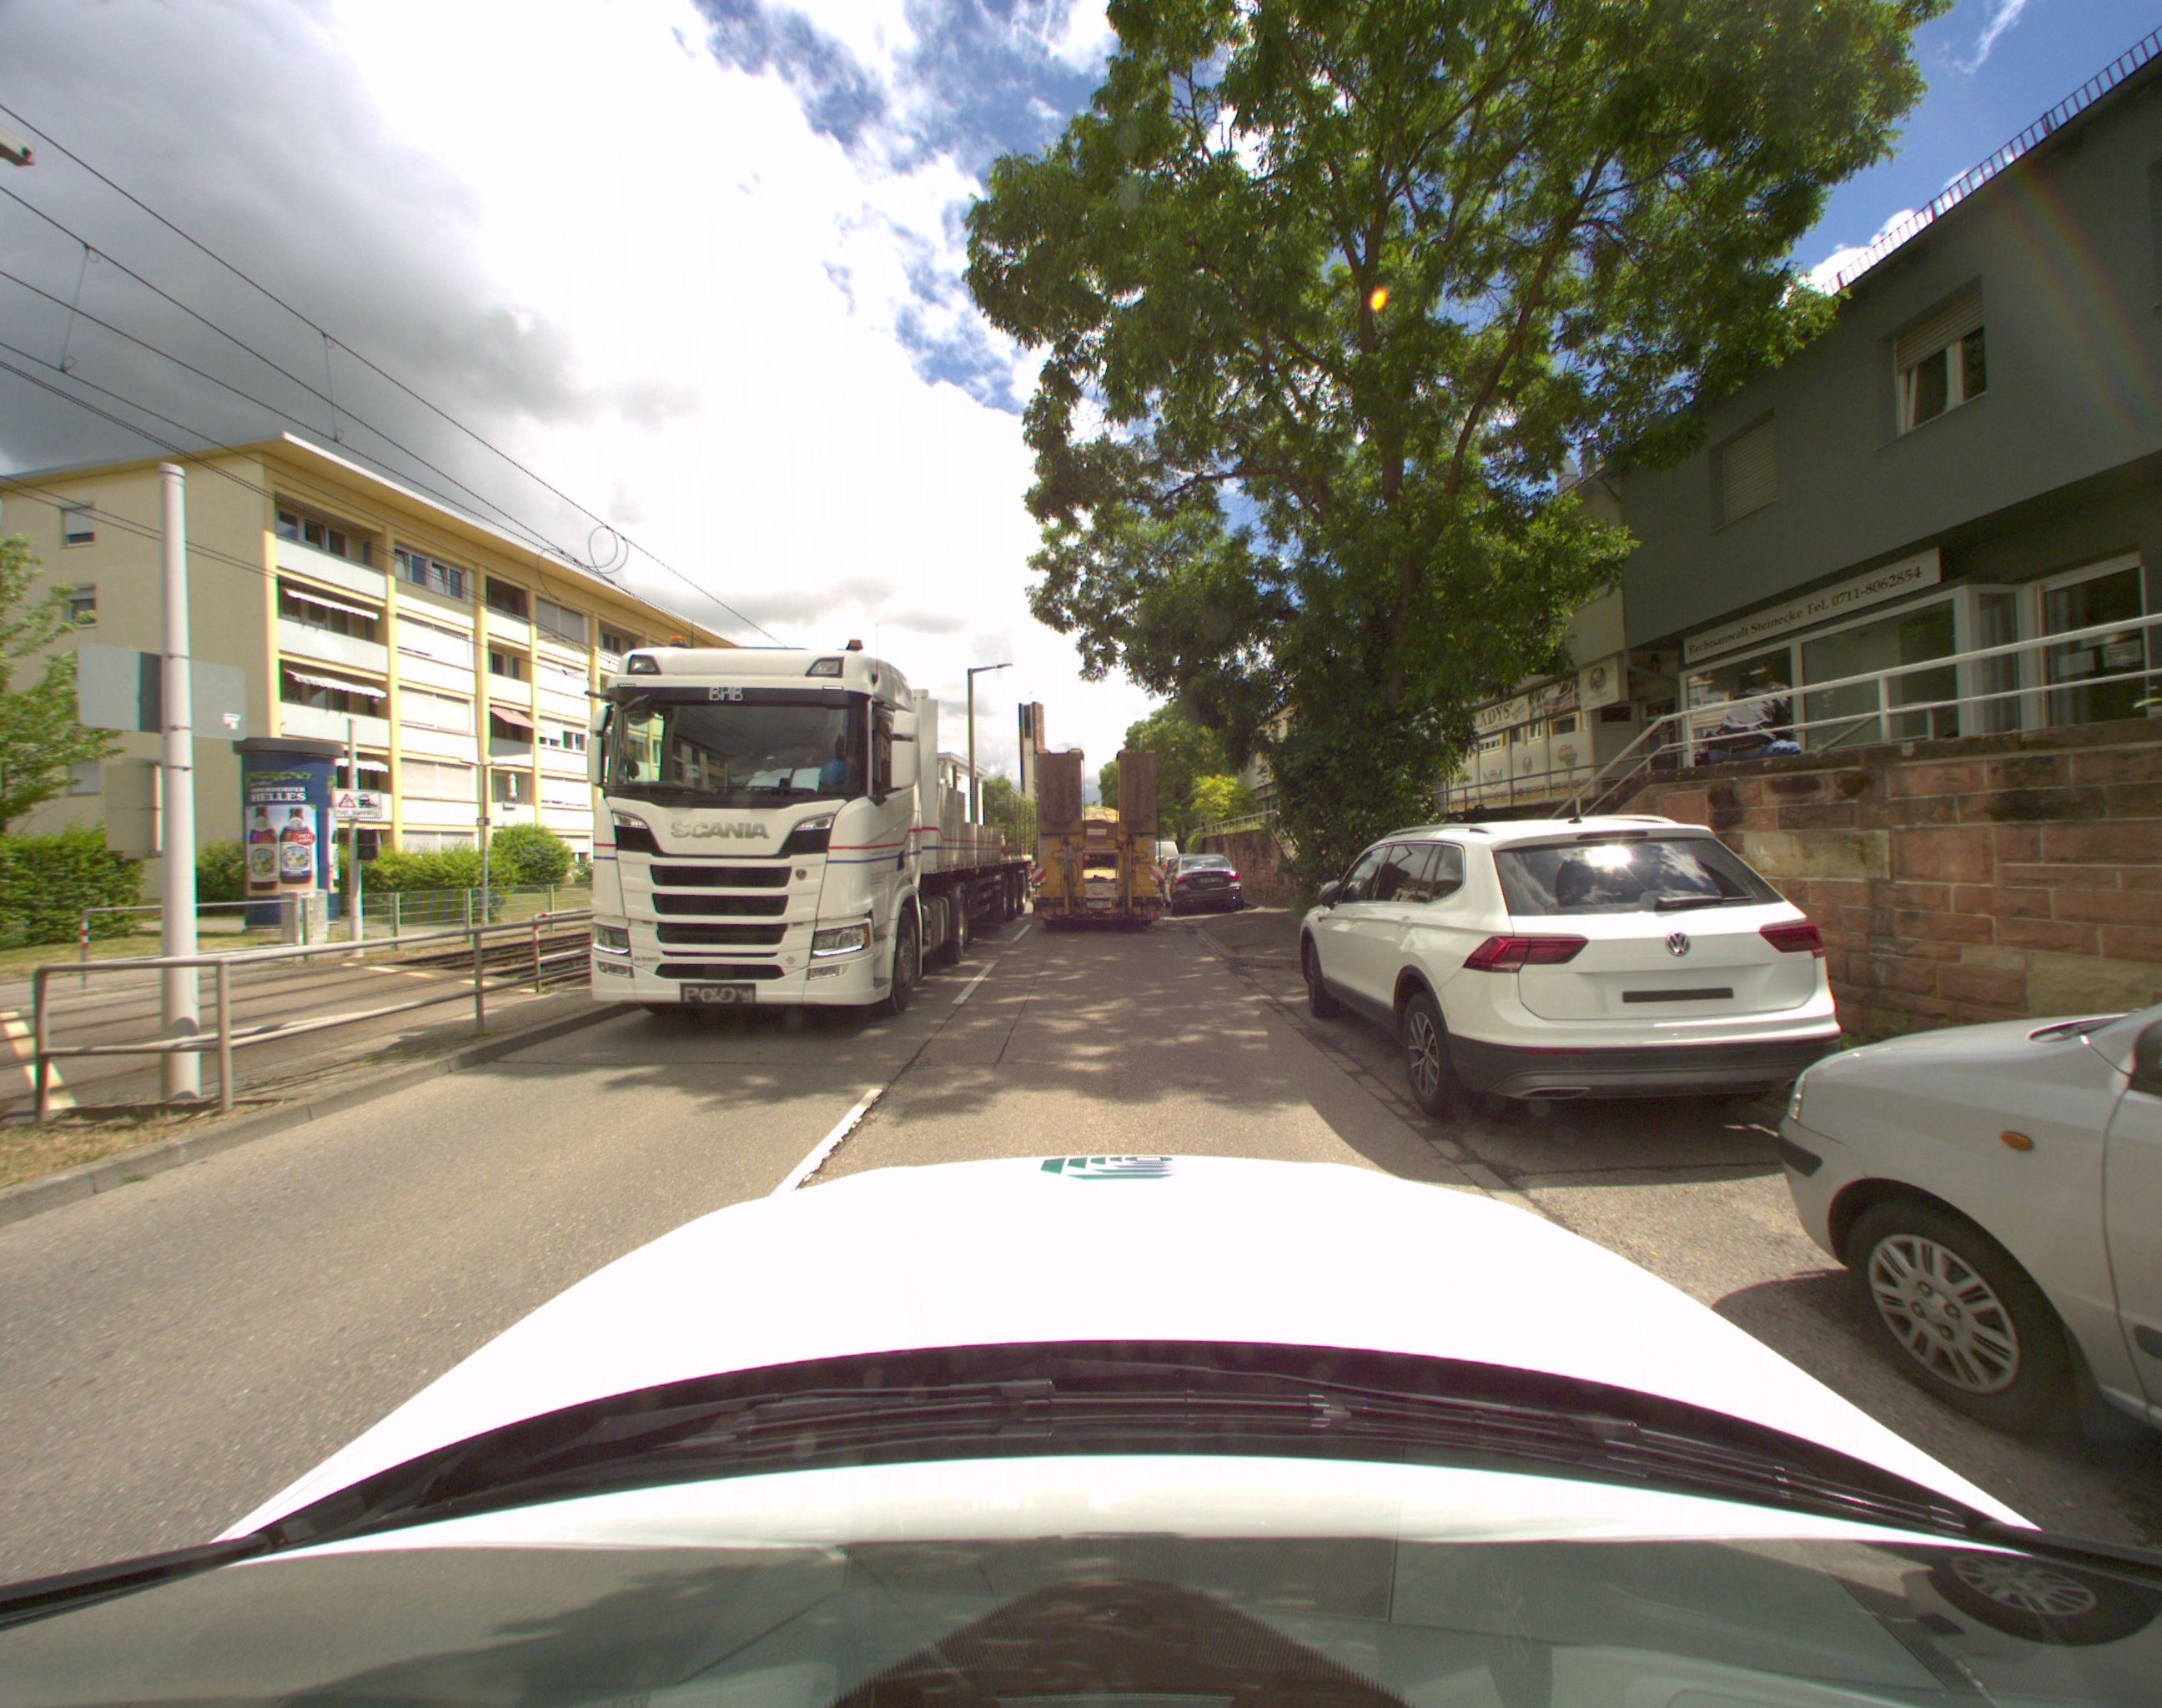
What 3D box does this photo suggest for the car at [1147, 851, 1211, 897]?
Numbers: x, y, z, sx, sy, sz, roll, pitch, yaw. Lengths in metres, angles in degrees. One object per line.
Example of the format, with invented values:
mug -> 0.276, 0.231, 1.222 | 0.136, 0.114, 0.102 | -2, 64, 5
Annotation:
car -> 3.363, 0.652, 28.586 | 1.685, 1.405, 4.068 | -3, 0, 0

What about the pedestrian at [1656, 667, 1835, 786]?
pedestrian -> 5.062, -0.955, 6.247 | 0.792, 0.790, 0.705 | -1, 0, -1

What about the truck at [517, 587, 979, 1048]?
truck -> -2.981, -0.309, 9.430 | 2.688, 3.580, 6.146 | 0, 0, 1

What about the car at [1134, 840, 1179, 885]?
car -> 3.564, 0.374, 39.187 | 1.793, 1.968, 4.591 | -3, 0, 1

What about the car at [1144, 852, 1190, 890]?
car -> 3.510, 0.652, 33.770 | 1.614, 1.405, 3.652 | -3, 0, 2

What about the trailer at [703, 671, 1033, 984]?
trailer -> -2.851, -0.370, 16.196 | 2.688, 3.580, 13.678 | 0, 0, 1

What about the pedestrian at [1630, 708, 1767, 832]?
pedestrian -> 5.146, -0.680, 6.819 | 0.640, 0.945, 0.616 | -3, 0, -1

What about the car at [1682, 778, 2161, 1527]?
car -> 3.016, 0.604, 1.253 | 1.577, 1.552, 3.474 | -1, 0, -1

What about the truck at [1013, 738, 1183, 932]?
truck -> 0.410, -0.411, 21.553 | 3.113, 3.564, 12.461 | -1, 0, 1

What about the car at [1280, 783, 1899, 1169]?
car -> 2.835, 0.535, 5.953 | 1.816, 1.682, 4.579 | -2, 0, 3

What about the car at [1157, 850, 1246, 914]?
car -> 3.054, 0.660, 21.471 | 1.829, 1.405, 4.416 | -3, 0, 2
